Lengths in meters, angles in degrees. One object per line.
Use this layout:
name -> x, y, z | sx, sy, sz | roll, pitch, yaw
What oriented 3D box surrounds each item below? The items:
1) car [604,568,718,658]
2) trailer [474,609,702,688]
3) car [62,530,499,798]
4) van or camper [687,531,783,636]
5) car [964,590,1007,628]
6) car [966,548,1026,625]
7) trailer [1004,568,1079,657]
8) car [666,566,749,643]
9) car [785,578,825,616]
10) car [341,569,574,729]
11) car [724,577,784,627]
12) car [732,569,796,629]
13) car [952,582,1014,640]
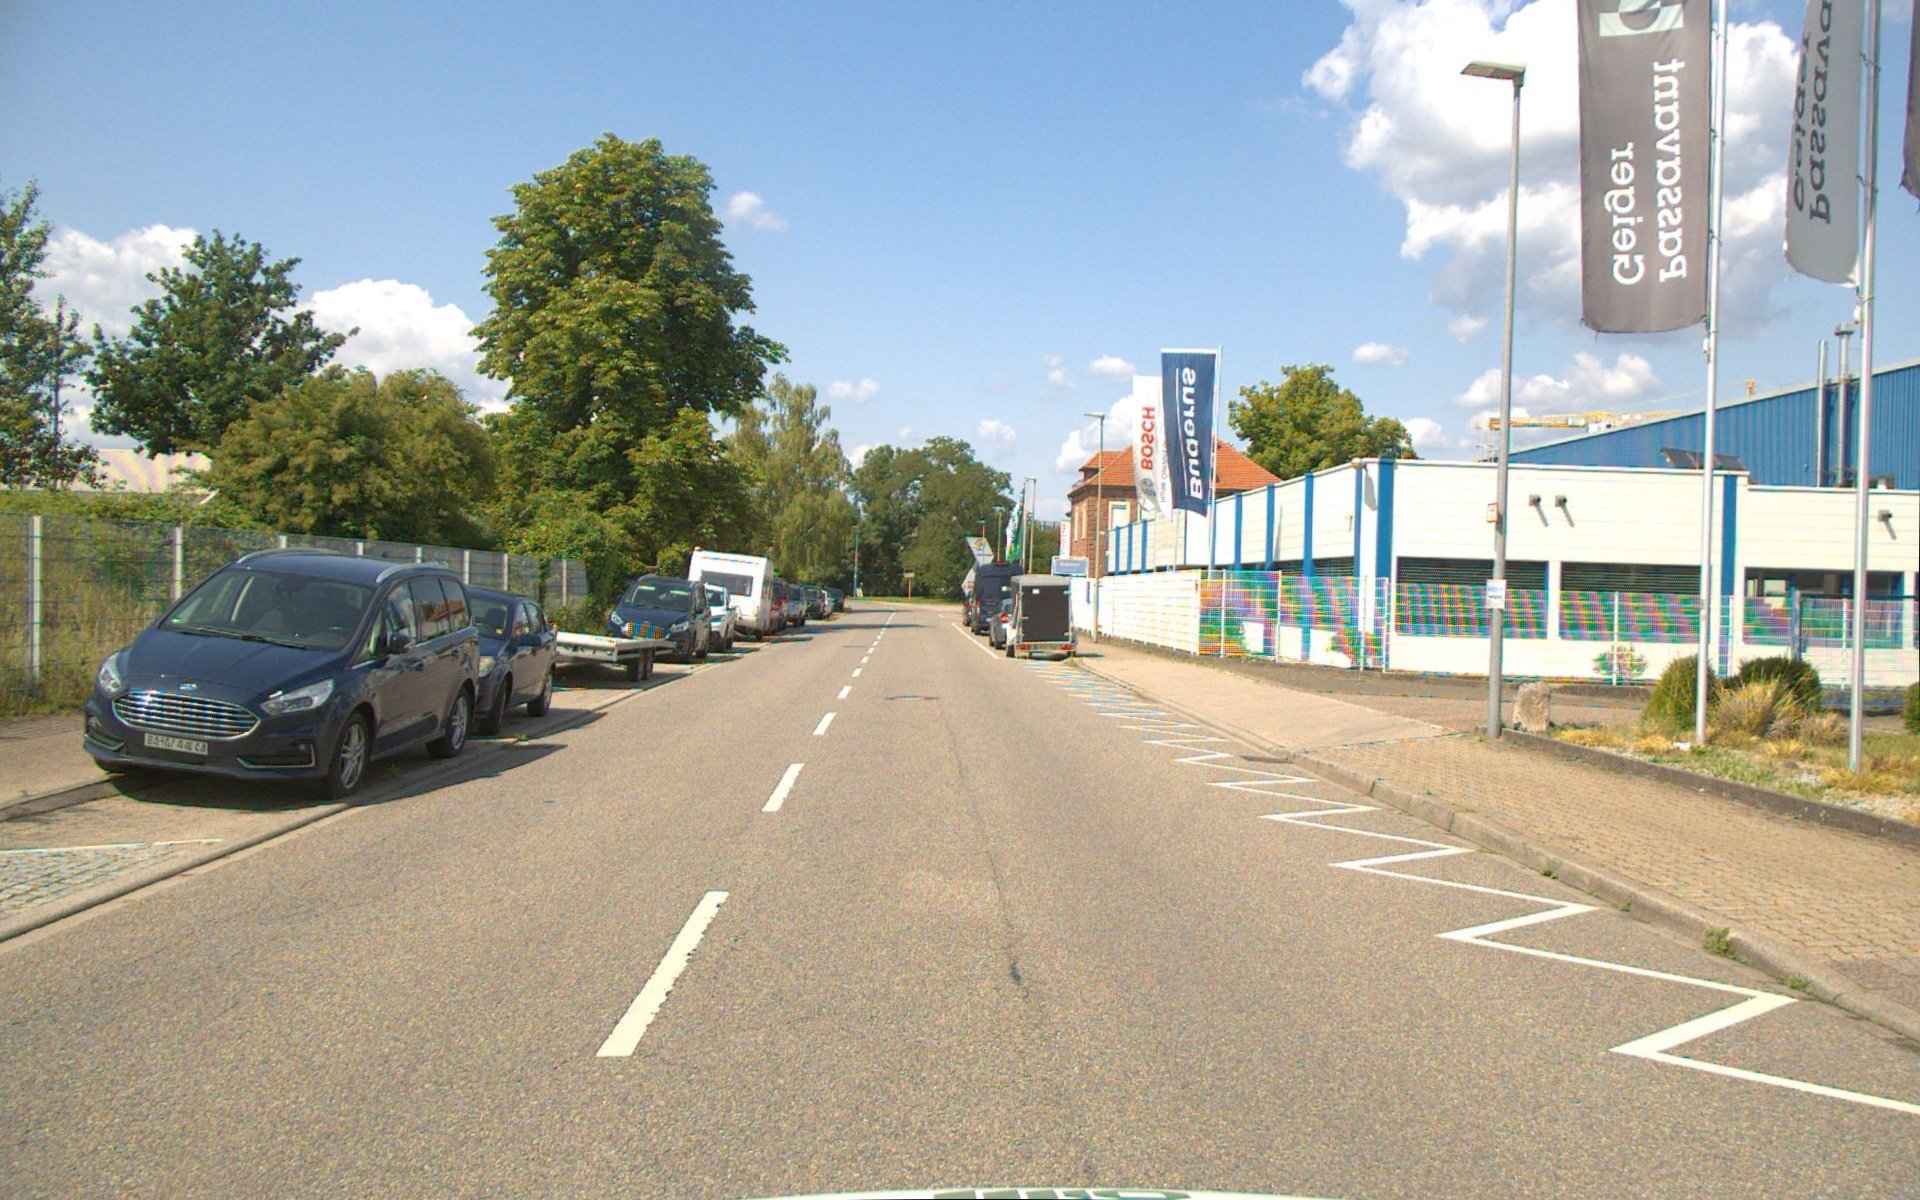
car -> -6.543, 0.264, 36.608 | 1.790, 1.824, 4.733 | 2, 0, -2
trailer -> -6.038, 0.736, 27.970 | 2.226, 0.898, 7.131 | 6, 0, -1
car -> -5.286, 0.431, 13.636 | 1.765, 1.780, 4.711 | 2, 0, -2
van or camper -> -6.966, -0.487, 51.961 | 2.219, 2.851, 6.829 | 6, 0, -3
car -> 1.172, 0.387, 77.548 | 1.788, 1.693, 4.554 | 1, 0, -1
car -> 1.361, -0.517, 65.191 | 1.899, 2.796, 6.152 | 3, 0, -2
trailer -> 2.021, 0.301, 41.588 | 1.569, 2.073, 2.739 | 3, 0, -2
car -> -6.491, 0.094, 42.884 | 1.651, 1.721, 4.440 | 6, 0, -5
car -> -7.988, -0.160, 85.588 | 1.578, 1.775, 4.636 | 4, 0, 0
car -> -5.557, 0.496, 18.805 | 1.546, 1.539, 4.198 | 3, 0, -4
car -> -7.277, 0.060, 58.774 | 1.593, 1.558, 4.267 | 5, 0, -2
car -> -7.601, -0.030, 64.586 | 1.861, 1.987, 4.956 | 7, 0, -2
car -> 0.623, 0.302, 47.845 | 1.541, 1.534, 4.131 | 2, 0, -2
